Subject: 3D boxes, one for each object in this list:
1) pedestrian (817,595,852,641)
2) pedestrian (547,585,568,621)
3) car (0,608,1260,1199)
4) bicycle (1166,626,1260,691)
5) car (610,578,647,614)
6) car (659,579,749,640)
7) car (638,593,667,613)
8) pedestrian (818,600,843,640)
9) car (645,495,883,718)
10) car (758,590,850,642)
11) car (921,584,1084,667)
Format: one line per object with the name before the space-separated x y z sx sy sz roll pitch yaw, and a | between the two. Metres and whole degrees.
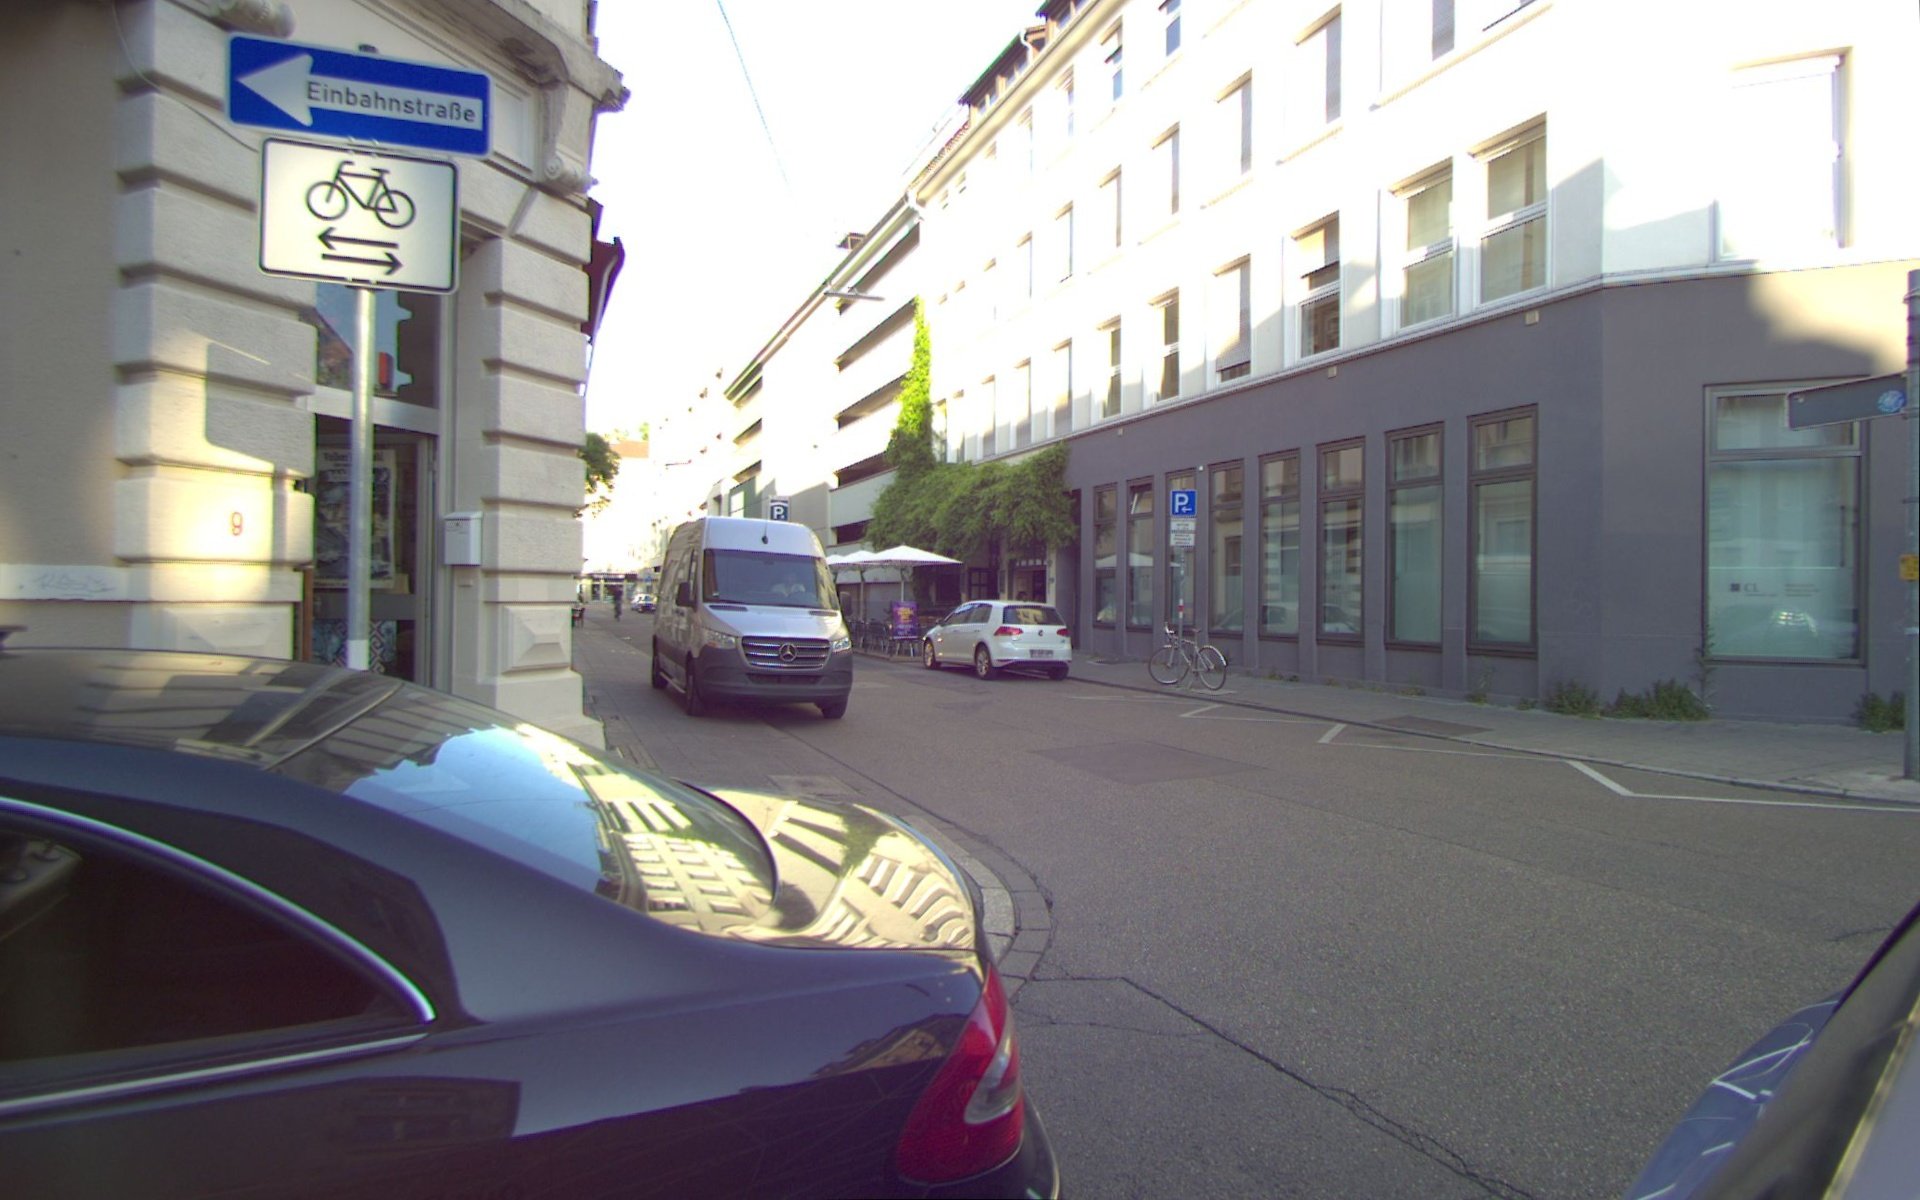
pedestrian | -3.659 0.529 29.508 0.767 1.303 0.917 1 0 -22
pedestrian | -17.279 0.134 43.421 0.810 1.505 0.662 1 -1 -24
car | -2.077 0.742 1.565 4.629 1.426 1.894 1 0 -19
bicycle | 3.947 0.897 15.928 0.585 0.916 1.647 1 0 -22
car | -19.360 -0.245 59.165 1.958 2.039 4.009 1 0 -18
car | -7.135 0.214 27.934 1.753 1.543 4.007 -1 1 -24
car | -24.815 0.200 81.490 1.958 1.435 4.569 3 0 -20
pedestrian | -3.902 0.590 30.479 0.545 1.180 0.739 1 0 10
car | -3.109 0.050 14.538 2.236 2.470 6.216 1 0 -21
car | -5.466 0.514 34.976 1.848 1.588 4.779 3 -1 -25
car | 0.716 0.427 19.767 1.628 1.431 3.890 1 1 -23
